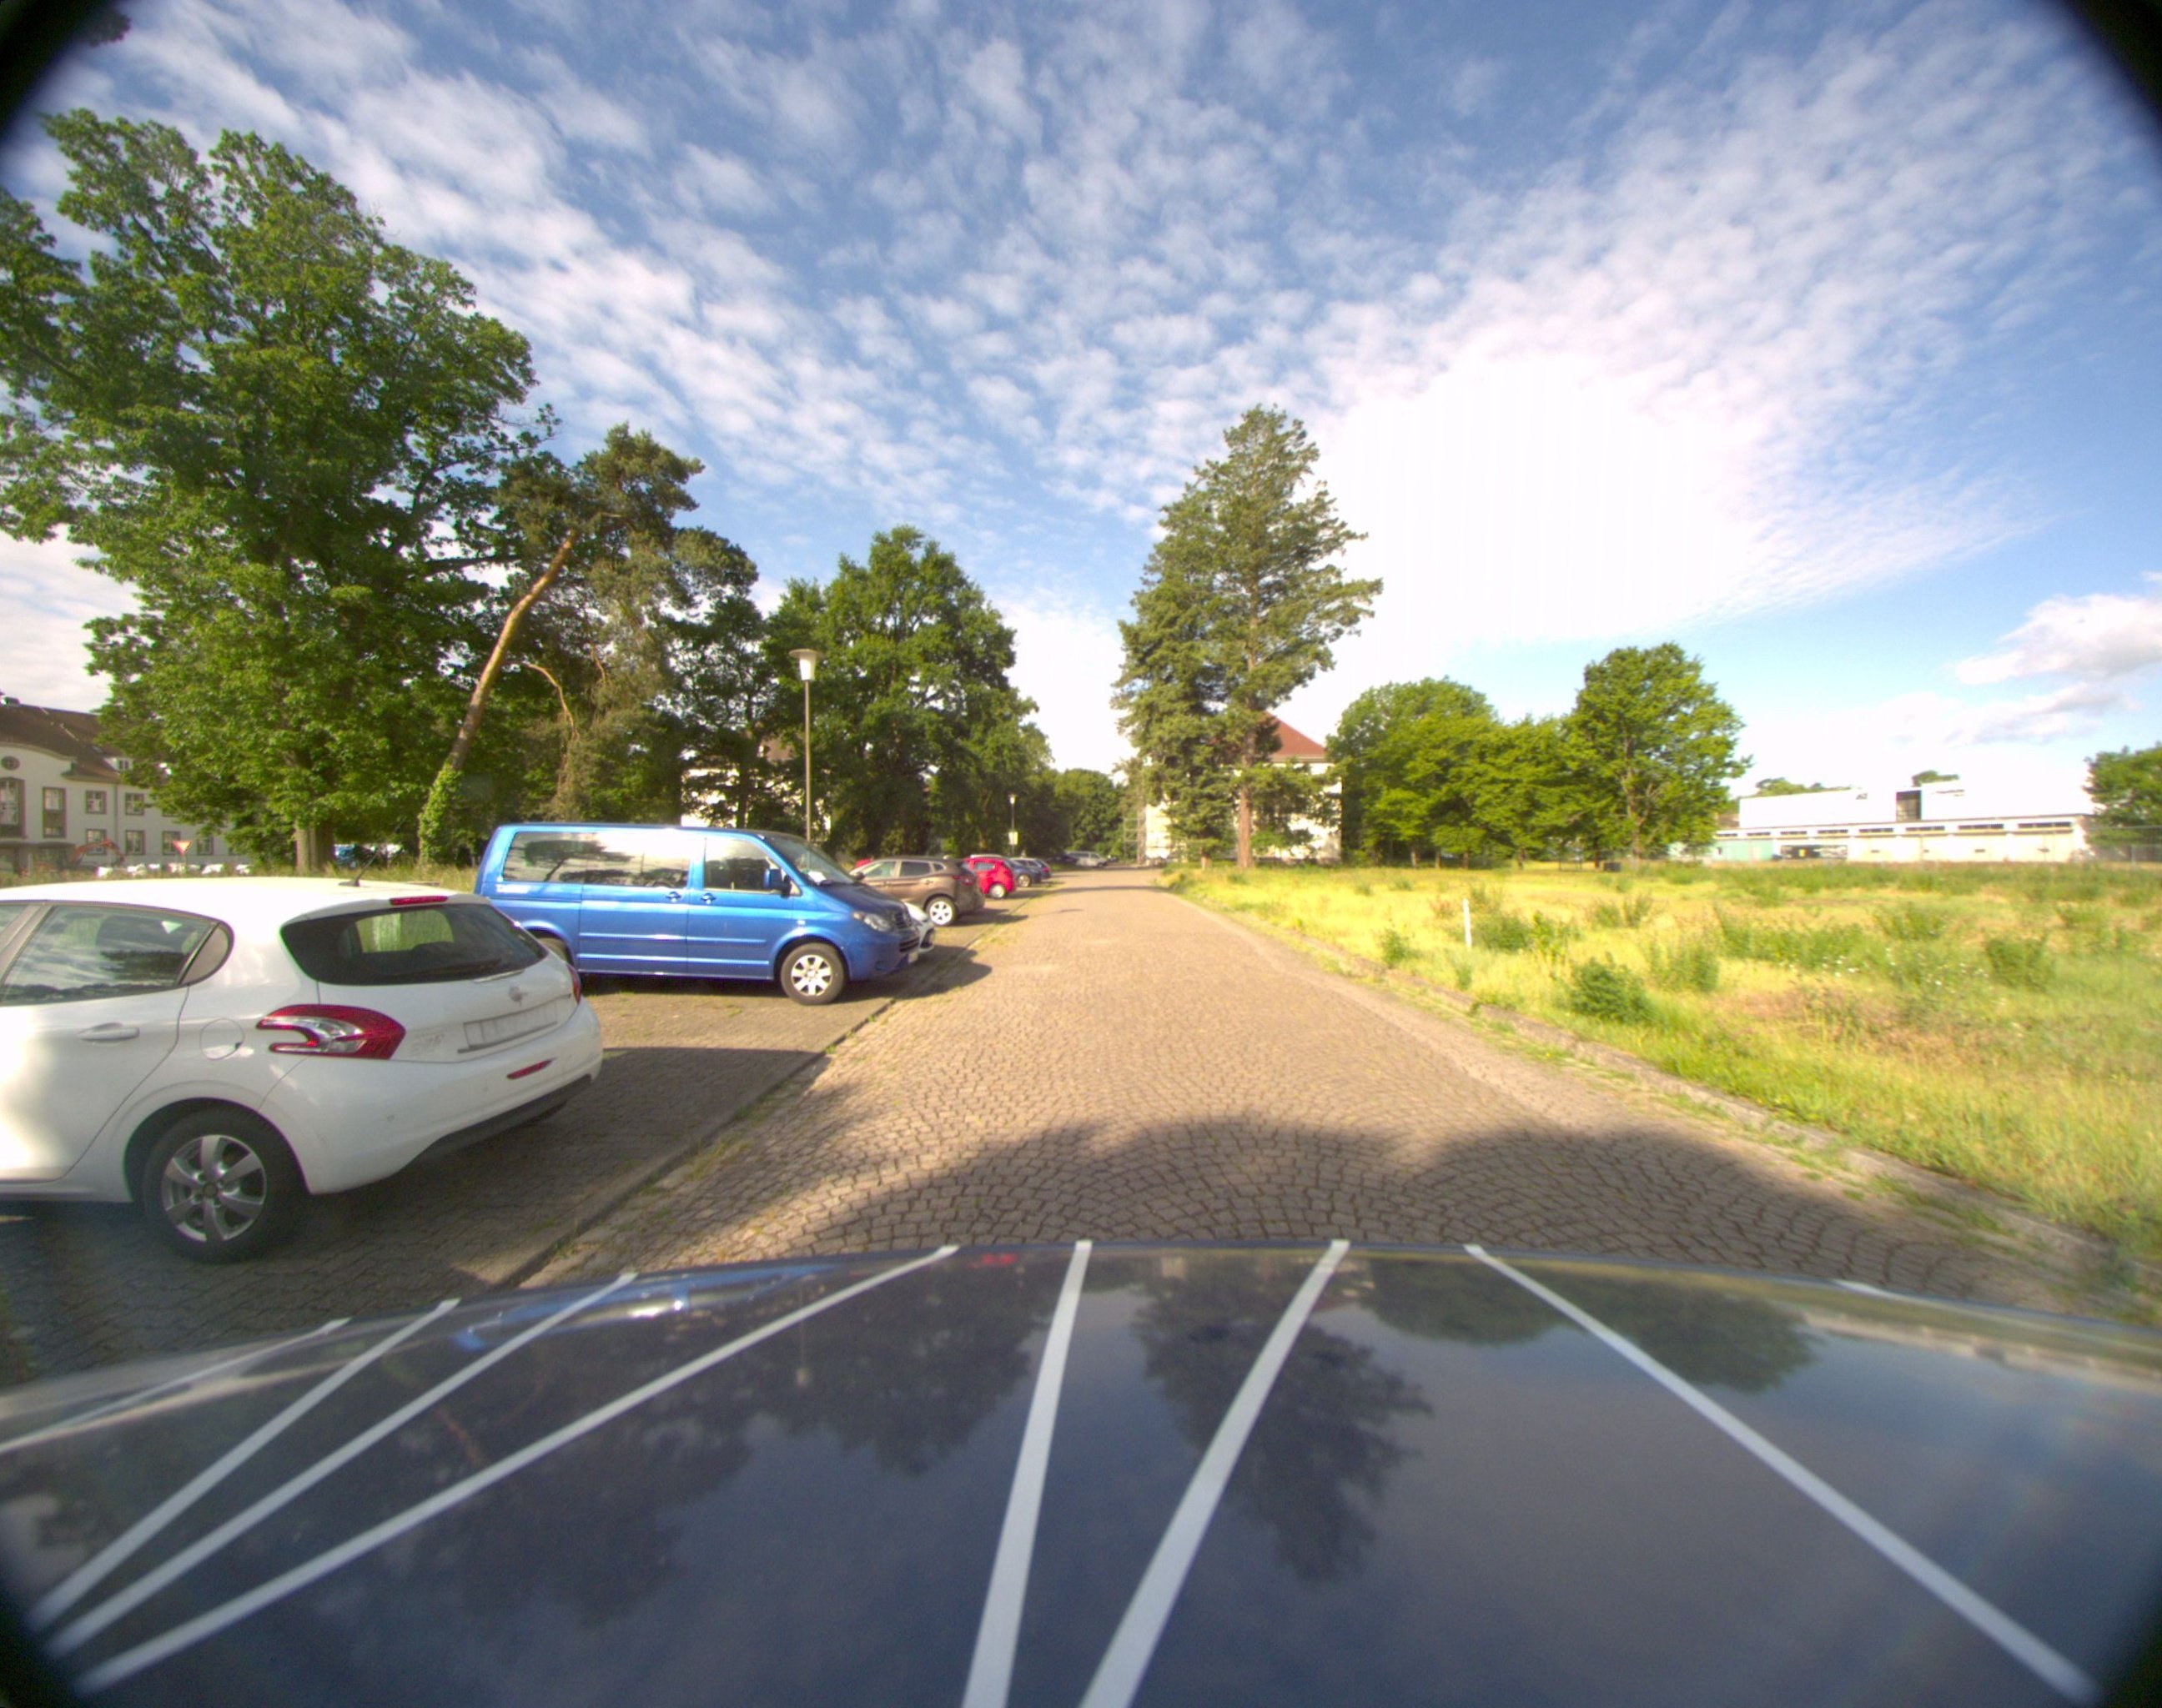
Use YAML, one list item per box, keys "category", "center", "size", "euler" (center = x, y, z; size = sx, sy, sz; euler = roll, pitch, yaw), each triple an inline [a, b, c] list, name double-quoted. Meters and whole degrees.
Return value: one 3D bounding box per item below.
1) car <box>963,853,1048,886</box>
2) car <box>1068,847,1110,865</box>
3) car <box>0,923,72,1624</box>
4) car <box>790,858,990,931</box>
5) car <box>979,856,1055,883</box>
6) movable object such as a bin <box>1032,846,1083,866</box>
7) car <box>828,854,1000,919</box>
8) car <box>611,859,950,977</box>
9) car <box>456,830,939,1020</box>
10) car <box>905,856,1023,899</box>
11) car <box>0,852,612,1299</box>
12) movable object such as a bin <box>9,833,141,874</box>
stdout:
- category: "car"
  center: [-3.765, 0.752, 38.517]
  size: [4.097, 1.548, 1.853]
  euler: [1, 0, 0]
- category: "car"
  center: [0.942, 0.221, 91.916]
  size: [4.933, 2.002, 1.999]
  euler: [1, 1, -5]
- category: "car"
  center: [-4.106, 0.837, 0.786]
  size: [3.716, 1.440, 1.856]
  euler: [1, 0, 1]
- category: "car"
  center: [-4.348, 0.904, 17.882]
  size: [4.237, 1.589, 1.934]
  euler: [0, 1, -2]
- category: "car"
  center: [-3.590, 0.881, 43.119]
  size: [4.097, 1.415, 1.784]
  euler: [1, 0, 0]
- category: "movable object such as a bin"
  center: [-2.451, 0.211, 79.039]
  size: [4.865, 2.002, 2.002]
  euler: [-1, 0, 14]
- category: "car"
  center: [-4.420, 0.840, 20.614]
  size: [4.237, 1.589, 1.934]
  euler: [1, 1, -2]
- category: "car"
  center: [-4.407, 0.908, 11.671]
  size: [4.408, 1.568, 1.939]
  euler: [1, 1, 1]
- category: "car"
  center: [-4.262, 0.745, 9.048]
  size: [4.710, 1.924, 2.000]
  euler: [1, 1, 1]
- category: "car"
  center: [-4.287, 0.861, 28.296]
  size: [4.097, 1.451, 1.853]
  euler: [1, 0, 0]
- category: "car"
  center: [-4.645, 0.786, 3.620]
  size: [3.716, 1.525, 1.761]
  euler: [1, 0, 1]
- category: "movable object such as a bin"
  center: [-88.086, -0.090, 66.741]
  size: [6.460, 3.282, 2.859]
  euler: [-3, 2, -42]
